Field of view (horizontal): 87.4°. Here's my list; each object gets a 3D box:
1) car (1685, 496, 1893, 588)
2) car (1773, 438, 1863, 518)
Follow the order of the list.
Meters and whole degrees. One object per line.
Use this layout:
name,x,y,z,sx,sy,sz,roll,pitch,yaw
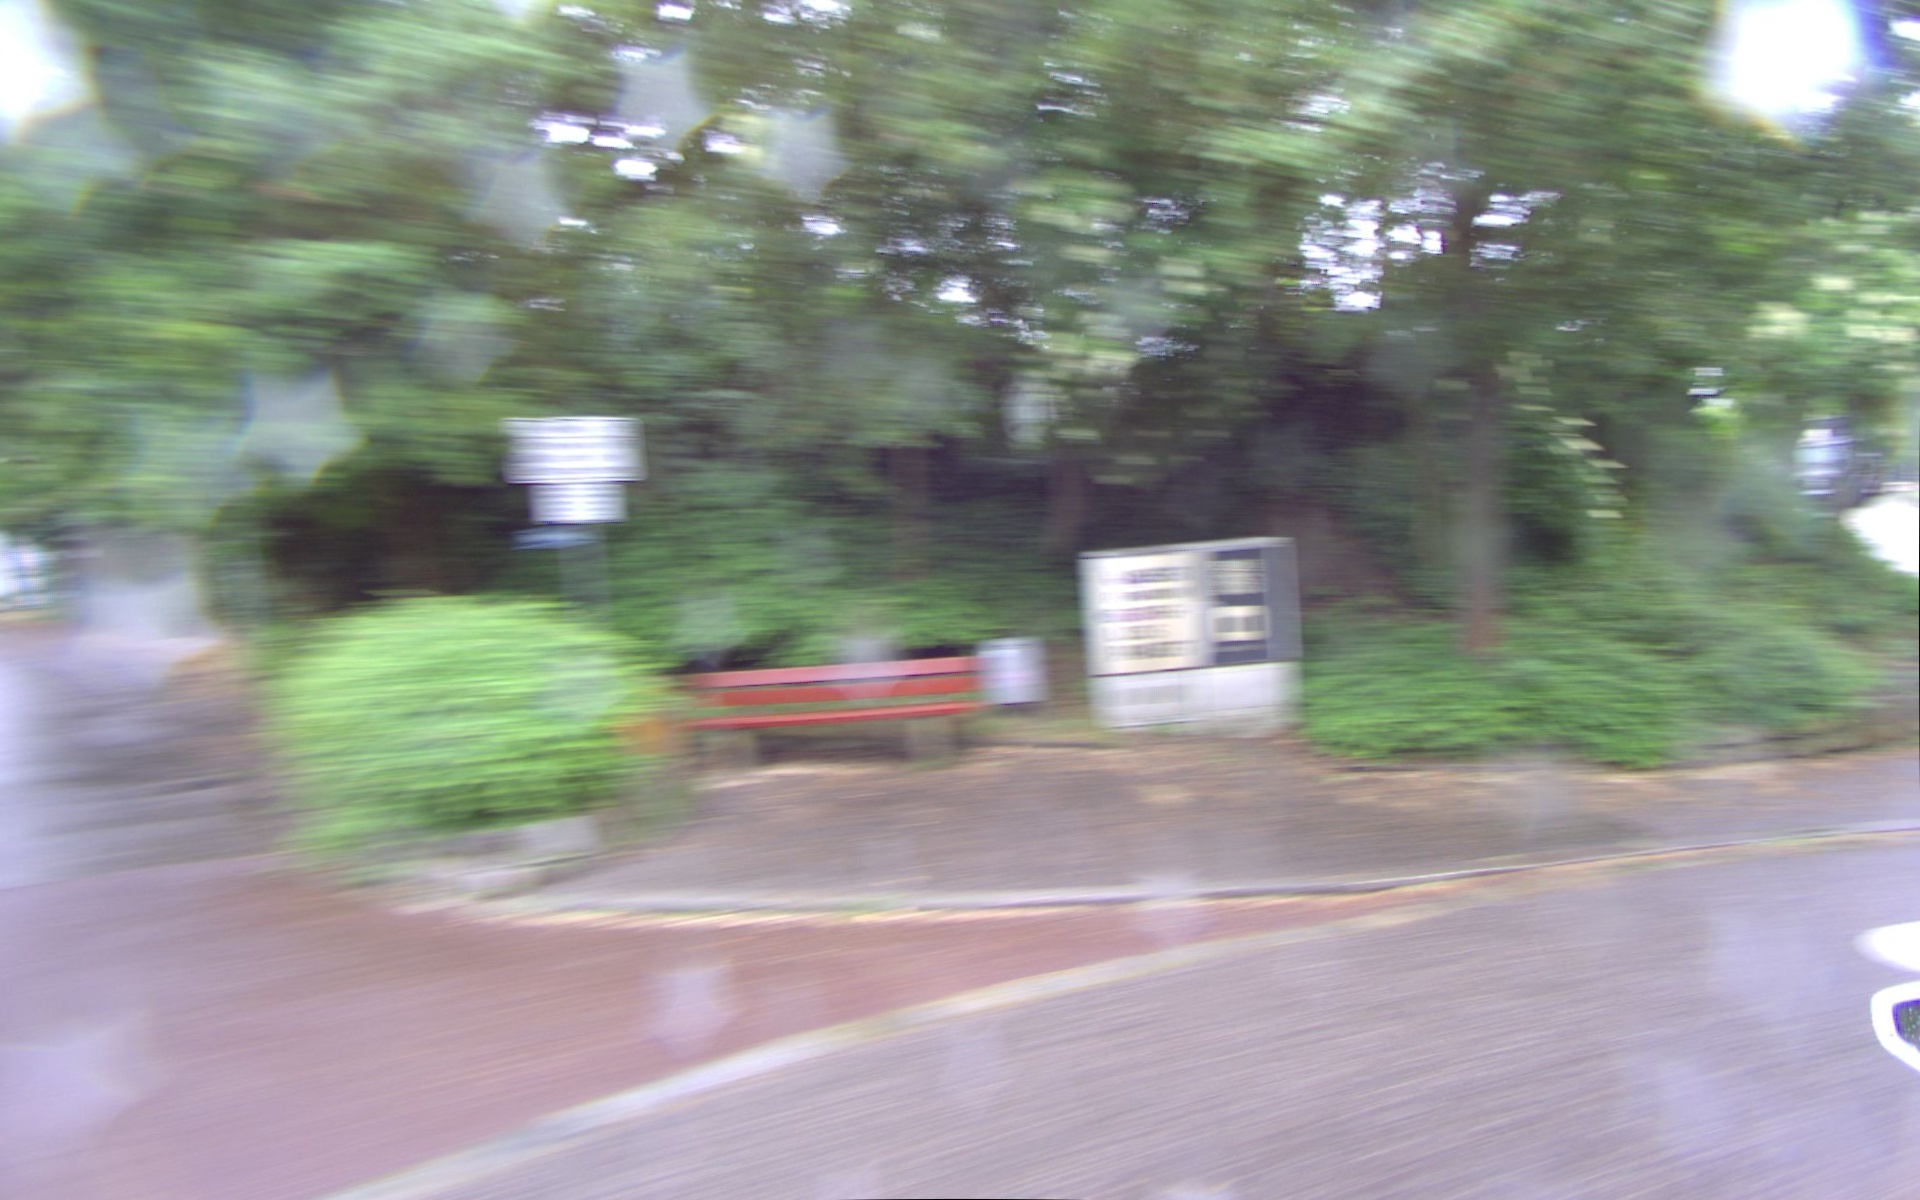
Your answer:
car,17.150,-1.290,21.055,1.801,1.482,4.000,-3,8,15
car,26.312,-3.772,30.767,1.869,1.636,3.979,-7,8,43
